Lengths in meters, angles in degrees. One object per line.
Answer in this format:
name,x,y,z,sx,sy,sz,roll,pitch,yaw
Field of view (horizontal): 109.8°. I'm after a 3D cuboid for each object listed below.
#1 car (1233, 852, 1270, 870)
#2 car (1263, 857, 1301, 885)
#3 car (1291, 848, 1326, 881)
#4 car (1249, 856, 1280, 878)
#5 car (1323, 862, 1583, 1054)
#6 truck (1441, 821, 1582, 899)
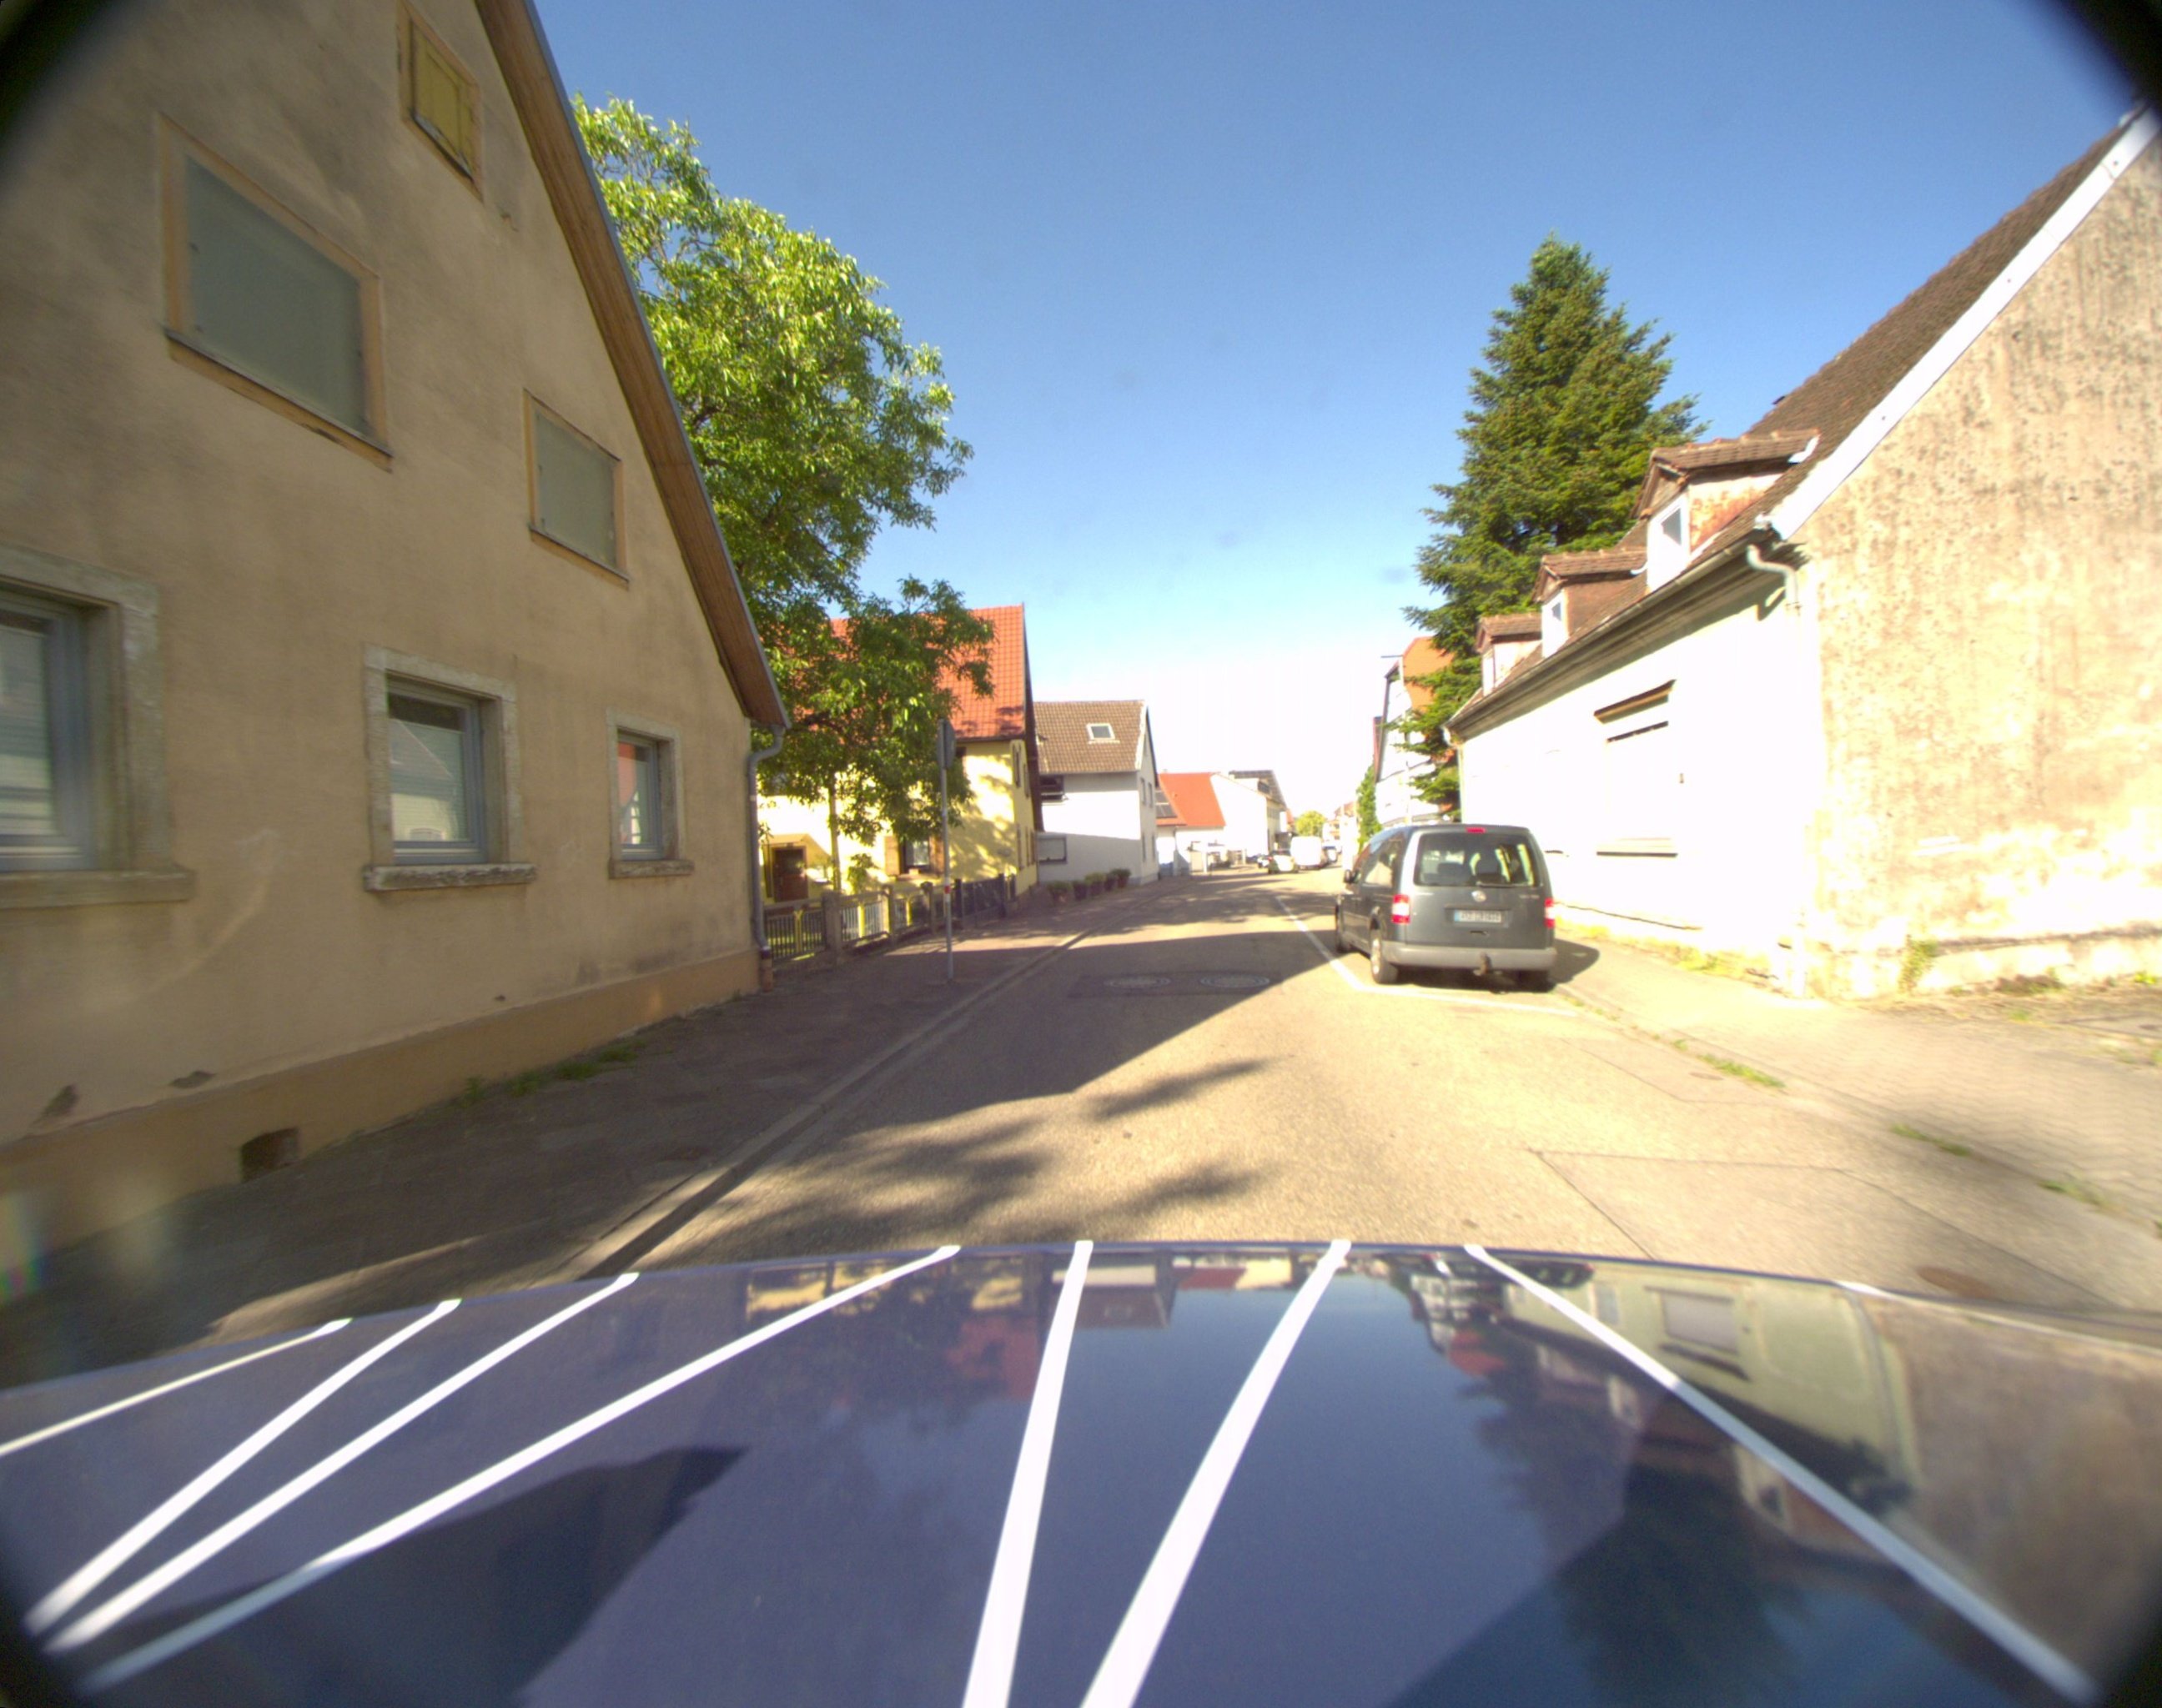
car,19.811,0.834,88.310,3.992,2.002,1.843,-2,0,15
car,12.661,1.039,47.680,1.891,1.581,4.006,-1,1,21
car,16.183,0.701,53.894,2.057,2.233,4.866,-1,1,21
car,15.394,1.059,63.488,1.805,1.469,4.349,-5,0,22
car,4.330,1.030,9.649,1.835,1.779,4.356,0,0,10
truck,11.836,0.155,21.281,1.997,1.838,4.756,-4,0,12
